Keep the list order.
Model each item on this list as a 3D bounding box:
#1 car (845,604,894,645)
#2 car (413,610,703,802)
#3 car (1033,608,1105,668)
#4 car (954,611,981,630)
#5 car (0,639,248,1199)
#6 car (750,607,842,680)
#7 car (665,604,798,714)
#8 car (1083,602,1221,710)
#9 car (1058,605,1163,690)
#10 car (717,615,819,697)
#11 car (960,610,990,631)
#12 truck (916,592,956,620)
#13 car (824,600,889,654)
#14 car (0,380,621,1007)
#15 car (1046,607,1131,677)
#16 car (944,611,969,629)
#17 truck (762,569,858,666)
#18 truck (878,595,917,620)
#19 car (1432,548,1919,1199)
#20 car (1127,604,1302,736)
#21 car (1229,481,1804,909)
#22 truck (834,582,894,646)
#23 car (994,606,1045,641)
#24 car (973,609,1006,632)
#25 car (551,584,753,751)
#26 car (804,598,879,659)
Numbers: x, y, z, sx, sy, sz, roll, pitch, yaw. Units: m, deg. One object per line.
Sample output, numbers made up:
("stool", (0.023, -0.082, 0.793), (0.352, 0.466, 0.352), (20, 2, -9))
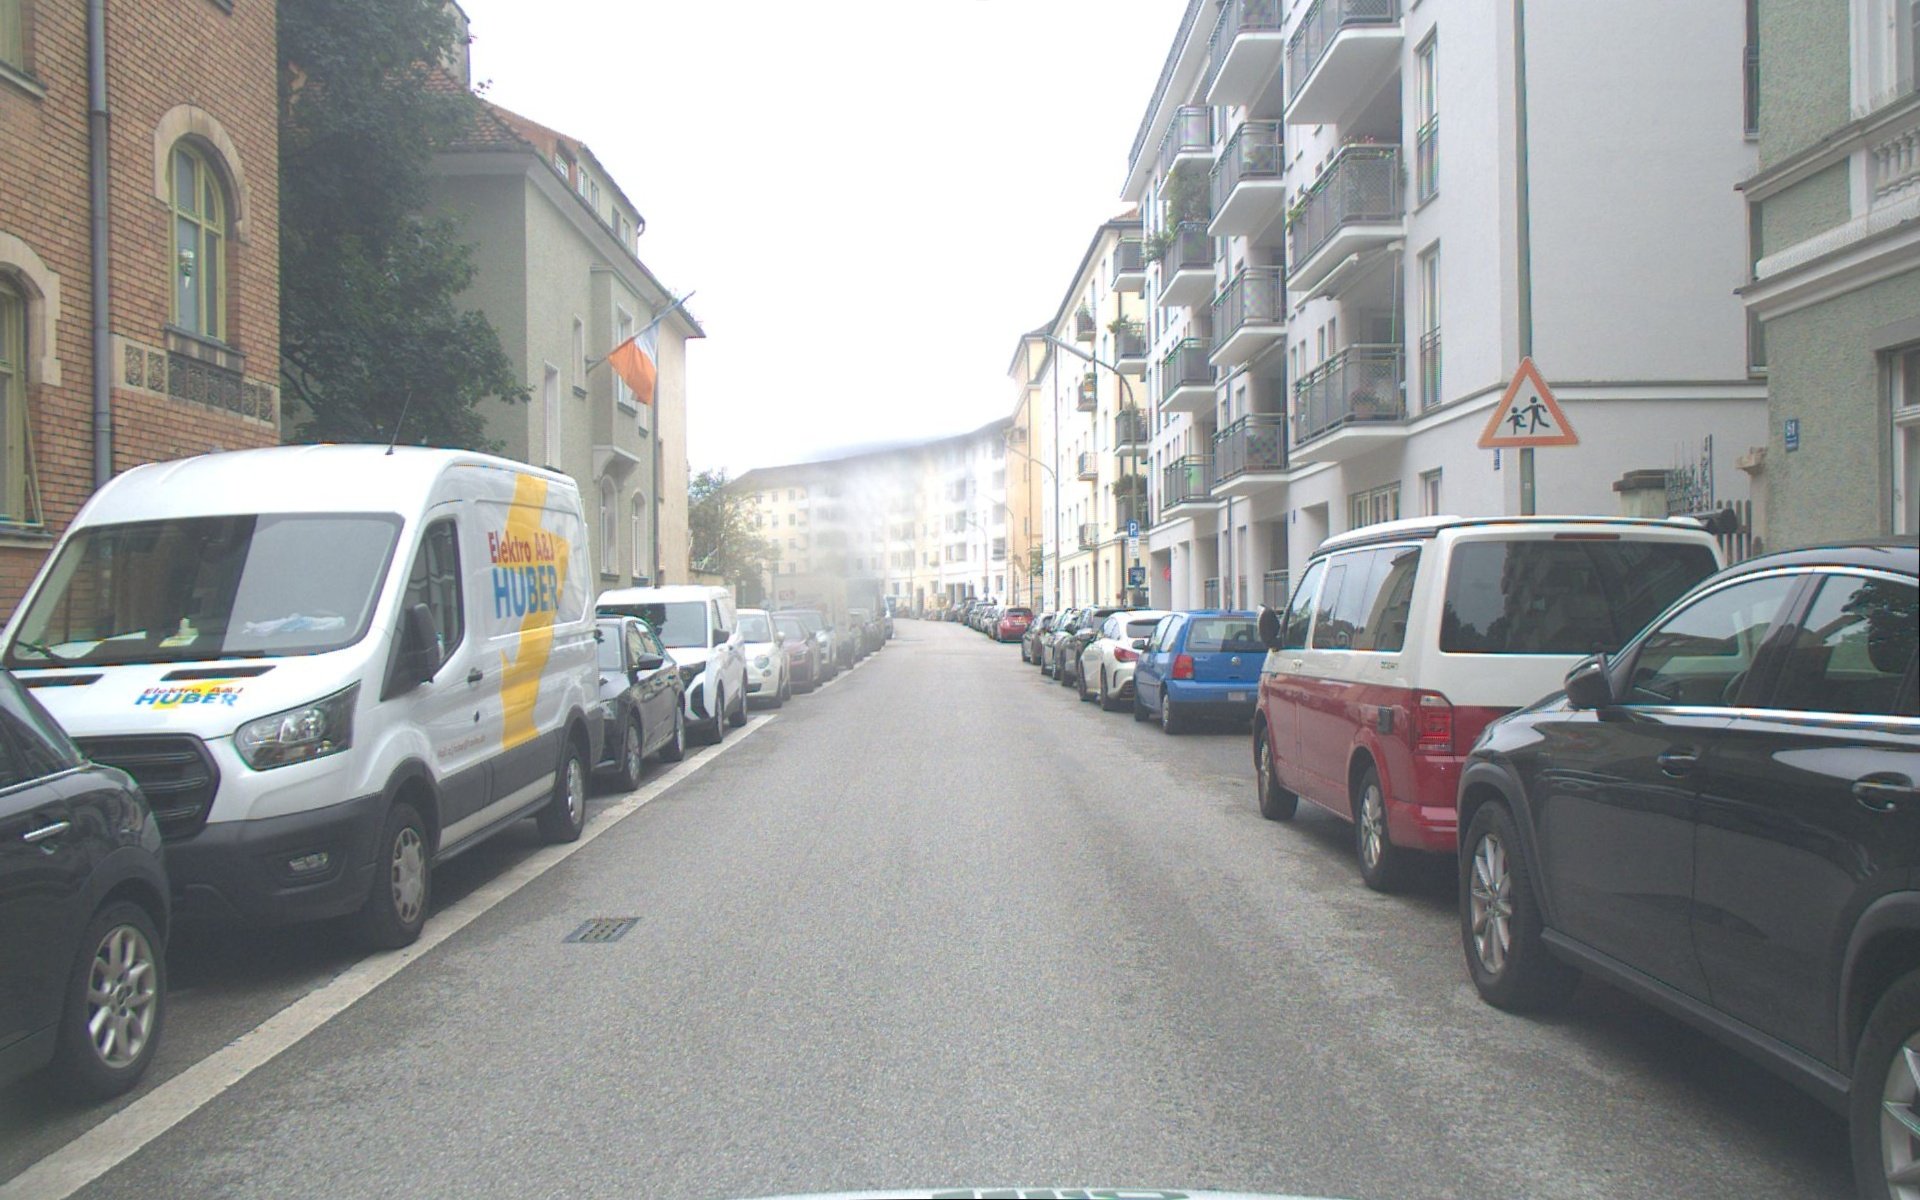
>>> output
("car", (-4.147, 1.098, 76.276), (1.953, 1.793, 4.381), (-1, -1, 0))
("car", (-3.481, 0.853, 15.046), (1.709, 1.470, 3.999), (-1, -1, -1))
("car", (2.785, 0.958, 43.122), (1.615, 1.459, 4.284), (-1, -1, 1))
("car", (0.547, 1.514, 125.654), (1.748, 1.409, 3.996), (0, 0, -4))
("car", (-3.361, 0.881, 3.885), (1.663, 1.456, 3.830), (-2, 0, 0))
("car", (-3.573, 0.932, 36.628), (1.759, 1.494, 3.865), (-1, -1, -2))
("car", (-3.547, 0.891, 26.271), (1.810, 1.567, 3.996), (-1, -1, -4))
("car", (2.811, 0.798, 24.929), (1.615, 1.459, 4.000), (-1, -1, 1))
("car", (2.767, 0.852, 31.051), (1.615, 1.459, 4.000), (-1, -1, 1))
("car", (-3.535, 0.998, 30.984), (1.717, 1.392, 3.996), (-1, -1, -4))
("car", (1.028, 1.405, 114.606), (1.748, 1.409, 3.996), (0, 0, -4))
("truck", (-2.071, 0.514, 139.459), (2.188, 2.340, 5.270), (0, 0, -15))
("car", (-3.592, 0.925, 58.067), (1.953, 1.793, 4.381), (-1, -1, 0))
("car", (-3.469, 0.388, 9.072), (2.093, 2.390, 5.369), (-1, -1, 0))
("car", (2.819, 0.903, 36.989), (1.615, 1.459, 4.000), (-1, -1, 1))
("car", (-0.293, 1.589, 131.964), (1.748, 1.409, 3.996), (0, 0, -4))
("truck", (-3.864, 0.457, 43.530), (1.953, 2.359, 5.409), (-1, -1, 0))
("truck", (-6.070, 0.692, 160.508), (2.578, 2.340, 5.417), (0, 0, -15))
("car", (2.979, 0.664, 4.636), (1.822, 1.578, 4.752), (-1, -1, -1))
("car", (3.075, 0.806, 20.596), (1.575, 1.459, 3.619), (-1, -1, 0))
("car", (3.057, 0.473, 10.323), (1.832, 2.002, 4.815), (-1, -1, -1))
("truck", (-3.703, 0.556, 64.597), (1.953, 2.359, 5.409), (-1, -1, 0))
("car", (2.532, 0.985, 70.796), (1.748, 1.409, 3.996), (0, 0, -4))
("car", (1.847, 1.311, 106.055), (1.748, 1.409, 3.996), (0, 0, -4))
("car", (-3.539, 0.736, 19.661), (1.784, 1.741, 3.998), (-1, -1, -3))
("car", (-3.635, 0.868, 51.477), (1.953, 1.793, 4.381), (-1, -1, 0))
